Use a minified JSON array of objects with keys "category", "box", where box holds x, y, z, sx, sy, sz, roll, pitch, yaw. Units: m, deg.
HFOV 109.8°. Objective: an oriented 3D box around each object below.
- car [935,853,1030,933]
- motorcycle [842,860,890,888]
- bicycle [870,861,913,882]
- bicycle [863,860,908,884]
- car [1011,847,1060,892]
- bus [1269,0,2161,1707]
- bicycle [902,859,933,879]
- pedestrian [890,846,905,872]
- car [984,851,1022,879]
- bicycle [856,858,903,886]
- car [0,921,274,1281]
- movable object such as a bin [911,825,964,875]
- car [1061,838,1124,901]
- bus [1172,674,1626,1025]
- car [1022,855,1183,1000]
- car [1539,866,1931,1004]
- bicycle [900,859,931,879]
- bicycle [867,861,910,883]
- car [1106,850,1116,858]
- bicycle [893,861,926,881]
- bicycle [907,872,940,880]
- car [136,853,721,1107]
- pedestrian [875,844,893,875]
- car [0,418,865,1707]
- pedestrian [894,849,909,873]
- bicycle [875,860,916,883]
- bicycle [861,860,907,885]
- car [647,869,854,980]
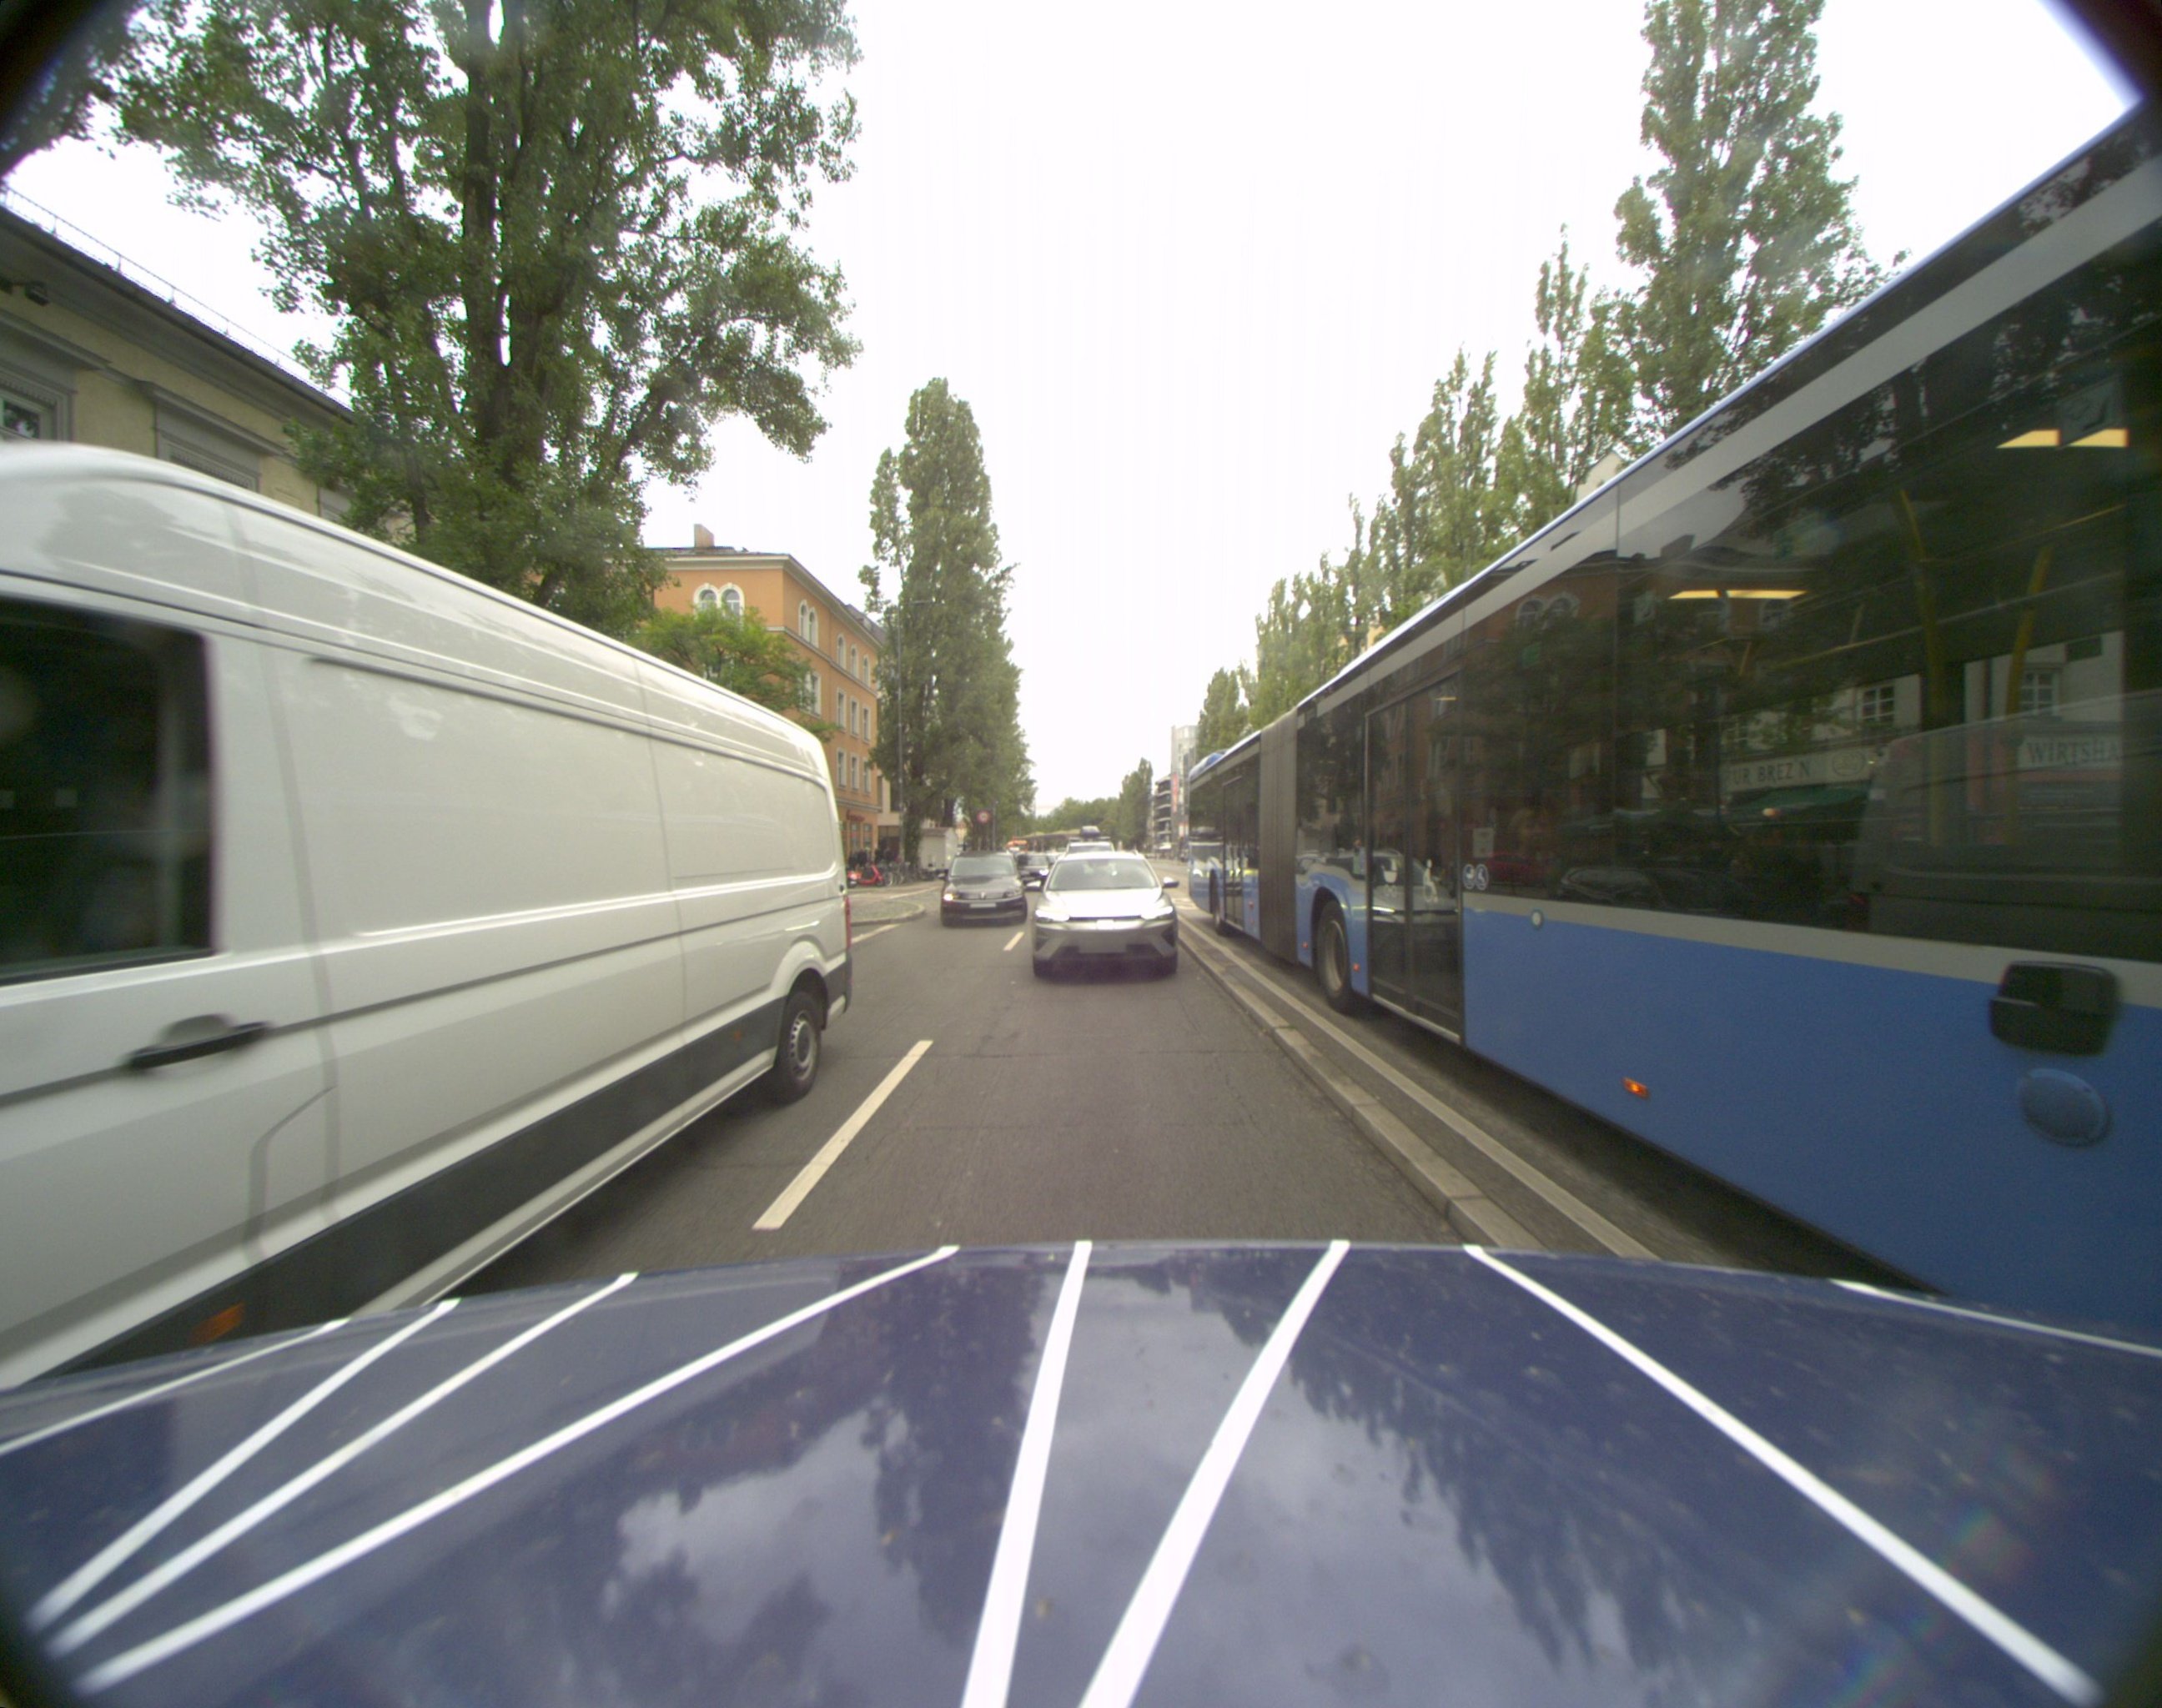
[{"category":"car","box":[-2.218,0.793,17.697,1.883,1.582,4.190,-2,1,-6]},{"category":"motorcycle","box":[-9.597,0.872,33.937,1.963,1.214,0.514,-1,1,-25]},{"category":"bicycle","box":[-9.346,0.879,37.541,1.945,1.004,0.561,-1,1,2]},{"category":"bicycle","box":[-9.301,0.861,36.193,1.945,1.082,0.561,-1,1,2]},{"category":"car","box":[-1.869,0.593,32.117,1.706,1.683,4.003,-3,0,1]},{"category":"bus","box":[3.192,-0.001,2.561,2.696,2.932,10.051,-1,1,0]},{"category":"bicycle","box":[-8.878,0.810,41.264,1.604,1.078,0.341,-1,1,-21]},{"category":"pedestrian","box":[-11.869,0.331,49.053,0.746,1.651,0.771,-2,1,-4]},{"category":"car","box":[-4.664,0.624,46.031,1.789,1.544,4.498,-2,1,0]},{"category":"bicycle","box":[-9.248,0.835,34.898,1.945,1.232,0.561,-1,1,2]},{"category":"car","box":[-5.289,1.105,2.037,1.714,1.385,4.342,-2,1,-3]},{"category":"movable object such as a bin","box":[-9.252,-0.262,49.327,2.445,3.119,4.543,1,1,1]},{"category":"car","box":[0.365,0.424,25.616,1.839,1.831,5.128,-2,1,0]},{"category":"bus","box":[3.277,-0.072,11.421,2.690,2.932,10.051,-1,1,0]},{"category":"car","box":[0.245,0.823,10.484,1.742,1.510,4.033,-2,0,0]},{"category":"car","box":[8.962,0.969,11.127,1.702,1.454,4.712,1,1,1]},{"category":"bicycle","box":[-9.034,0.803,41.595,1.610,1.078,0.321,-1,1,-21]},{"category":"bicycle","box":[-9.360,0.871,36.937,1.945,1.069,0.561,-1,1,2]},{"category":"car","box":[5.513,-0.033,139.687,1.718,1.532,4.076,1,1,1]},{"category":"bicycle","box":[-8.970,0.900,39.777,1.602,1.004,0.342,-1,1,-6]},{"category":"bicycle","box":[-8.398,1.188,40.520,1.677,0.371,0.830,1,0,-7]},{"category":"car","box":[-5.457,0.849,7.367,1.808,1.628,4.446,-2,1,-1]},{"category":"pedestrian","box":[-12.618,0.361,48.681,0.840,1.938,0.802,-2,1,-1]},{"category":"car","box":[-2.836,0.505,2.613,2.068,2.478,6.730,-1,0,1]},{"category":"pedestrian","box":[-12.031,0.489,50.857,0.745,1.562,0.614,-2,2,4]},{"category":"bicycle","box":[-9.335,0.876,38.290,1.945,1.078,0.561,-1,1,2]},{"category":"bicycle","box":[-9.208,0.848,35.542,1.945,1.130,0.561,-1,1,2]},{"category":"car","box":[-5.158,1.009,12.475,1.698,1.408,3.950,-1,0,-1]}]
